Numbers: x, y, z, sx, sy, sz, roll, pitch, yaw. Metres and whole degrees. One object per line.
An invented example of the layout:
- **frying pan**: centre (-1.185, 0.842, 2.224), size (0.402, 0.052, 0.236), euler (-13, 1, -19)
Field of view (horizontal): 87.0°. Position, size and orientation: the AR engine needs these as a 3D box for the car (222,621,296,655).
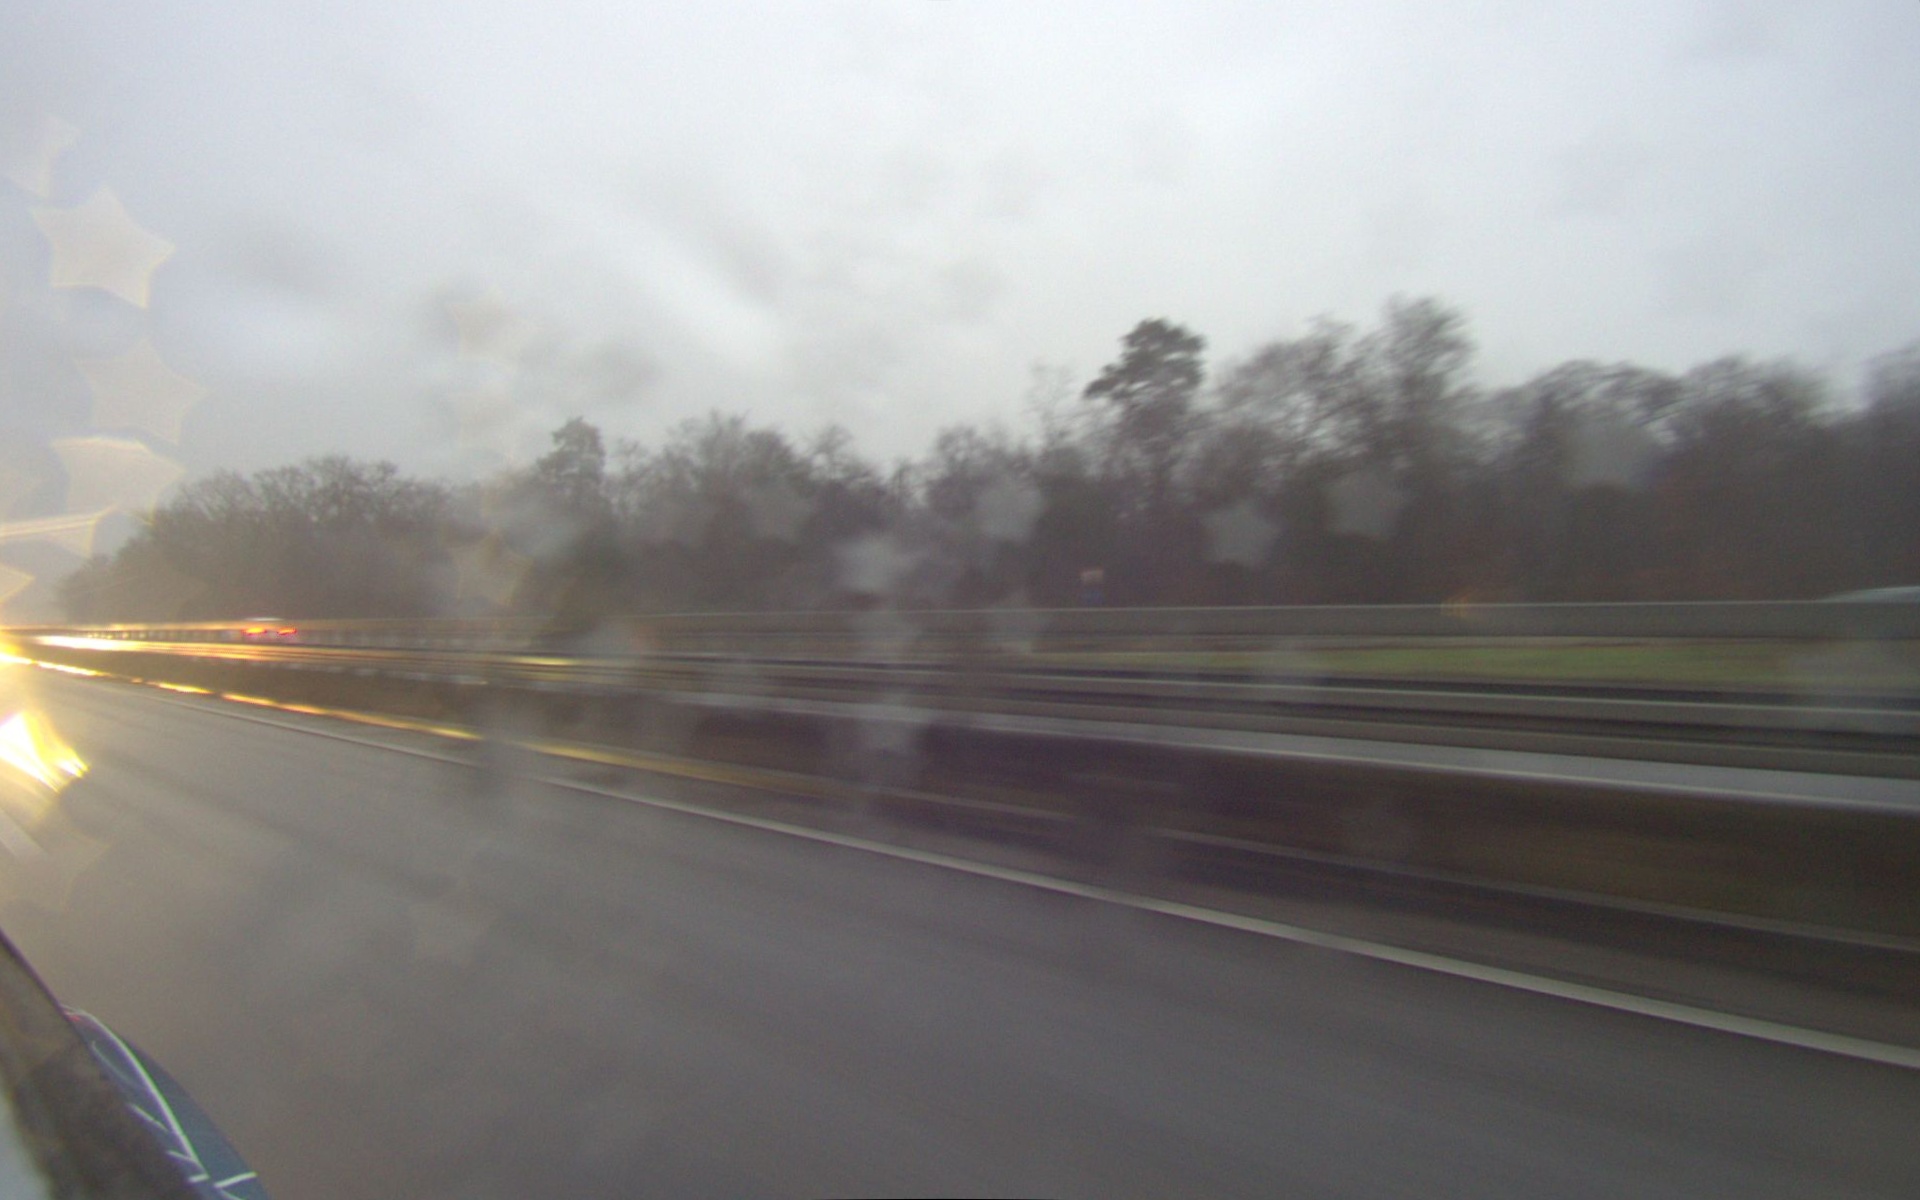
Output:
- **car**: centre (-35.041, 1.895, 50.563), size (4.957, 1.601, 1.972), euler (-2, -1, 42)
